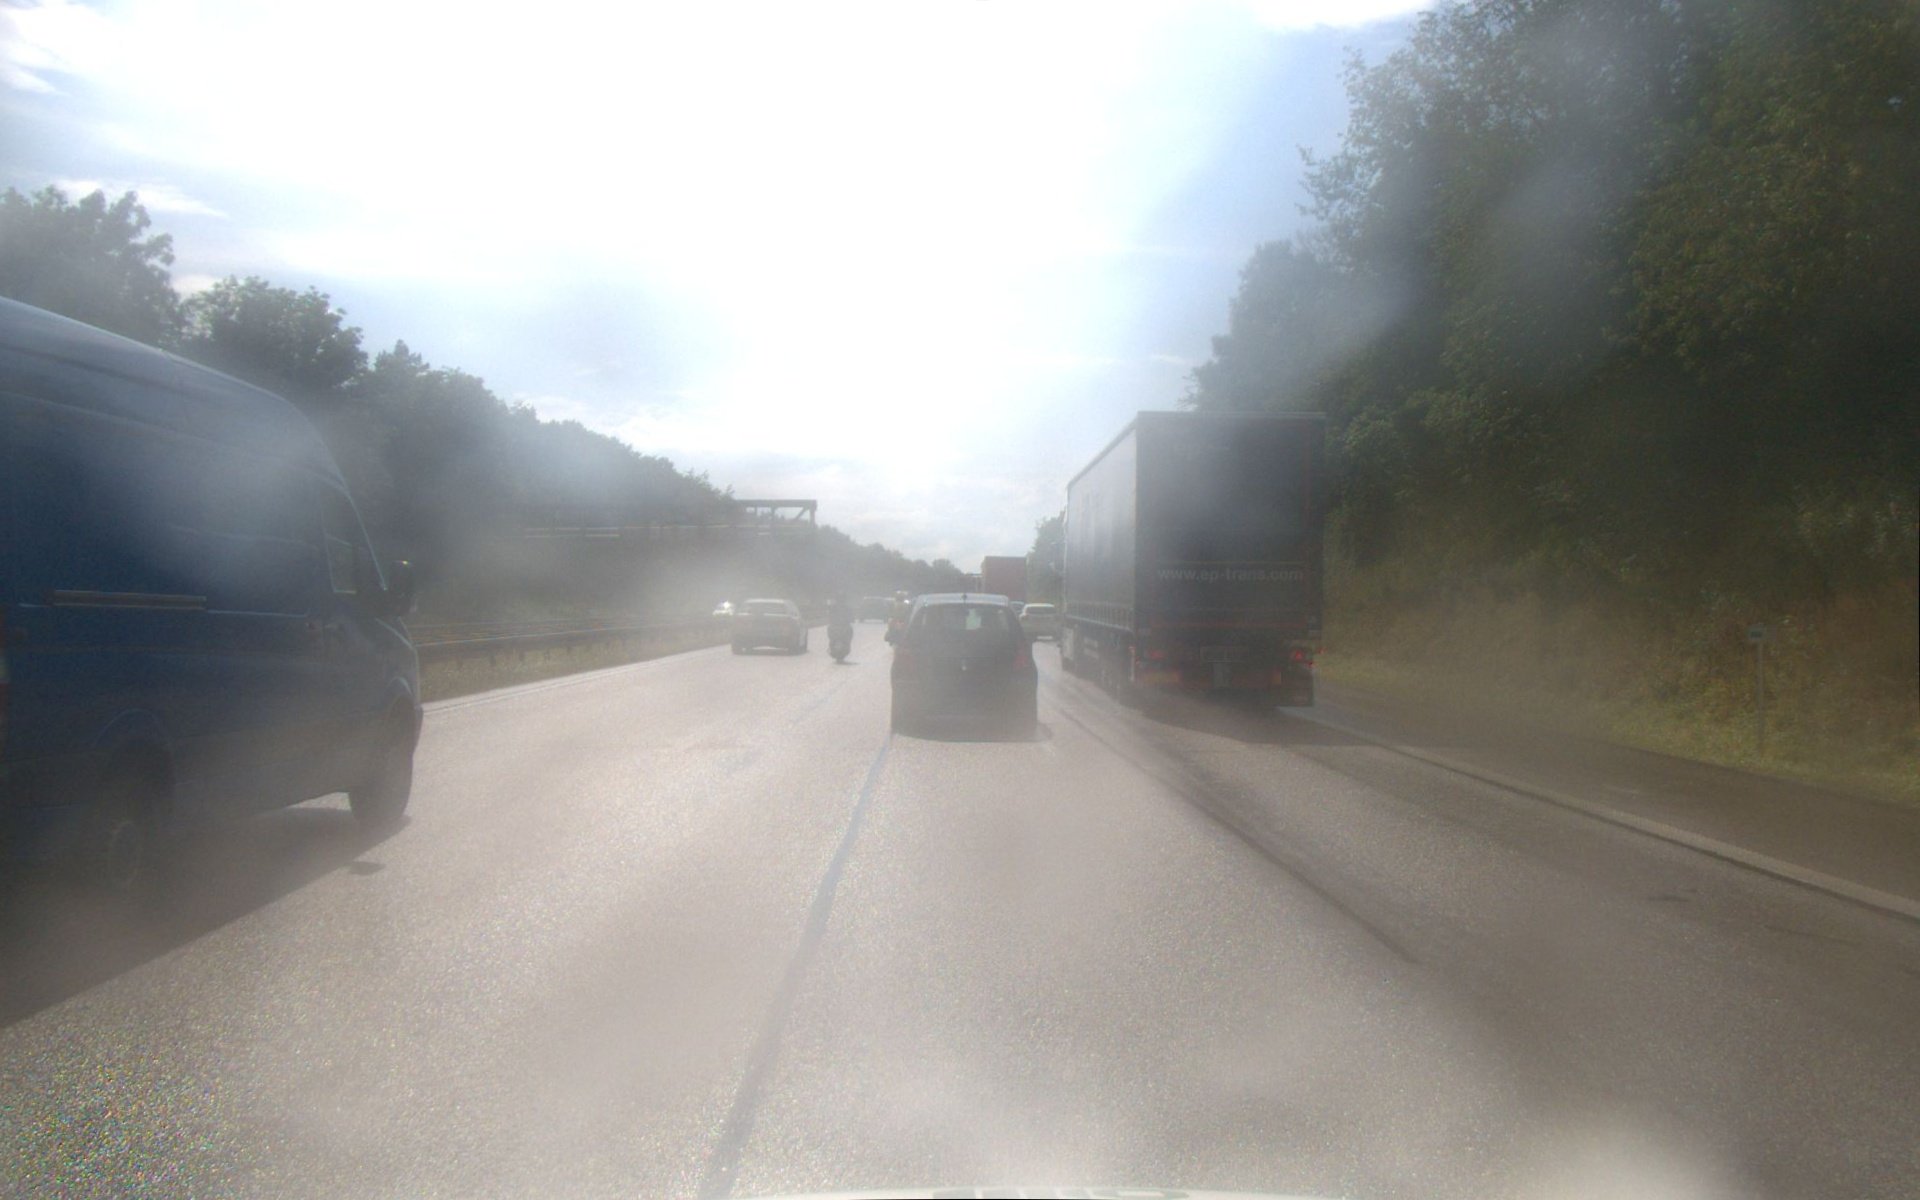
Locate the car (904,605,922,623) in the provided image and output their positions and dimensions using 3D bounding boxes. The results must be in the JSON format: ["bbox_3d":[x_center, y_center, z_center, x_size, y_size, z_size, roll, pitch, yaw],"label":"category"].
[{"bbox_3d":[-5.381,1.646,189.925,1.953,2.049,3.999,1,-1,-1],"label":"car"}]

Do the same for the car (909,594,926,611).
[{"bbox_3d":[-5.282,0.306,205.933,1.953,2.049,3.999,1,-1,-1],"label":"car"}]

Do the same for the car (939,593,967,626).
[{"bbox_3d":[-0.430,0.579,100.308,1.641,1.970,3.772,1,0,-1],"label":"car"}]

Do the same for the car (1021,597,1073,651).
[{"bbox_3d":[3.470,0.945,66.388,1.811,2.049,4.086,1,-1,0],"label":"car"}]

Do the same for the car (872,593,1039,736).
[{"bbox_3d":[-0.087,0.734,20.812,1.876,1.592,4.313,1,0,-1],"label":"car"}]

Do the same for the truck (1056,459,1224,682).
[{"bbox_3d":[3.765,-0.581,35.924,2.989,4.401,5.886,1,0,0],"label":"truck"}]

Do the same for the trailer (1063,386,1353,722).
[{"bbox_3d":[3.701,-0.585,28.770,3.025,4.388,14.105,1,0,1],"label":"trailer"}]

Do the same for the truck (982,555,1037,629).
[{"bbox_3d":[3.070,-0.464,105.208,3.137,4.481,9.431,1,0,0],"label":"truck"}]

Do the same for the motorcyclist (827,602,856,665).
[{"bbox_3d":[-2.831,0.798,39.513,0.657,1.467,1.019,1,-1,-4],"label":"motorcyclist"}]

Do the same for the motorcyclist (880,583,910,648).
[{"bbox_3d":[-1.841,0.434,46.965,0.805,1.791,1.390,1,-1,-2],"label":"motorcyclist"}]

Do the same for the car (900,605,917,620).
[{"bbox_3d":[-5.110,1.231,164.315,1.641,1.516,3.436,1,0,-1],"label":"car"}]

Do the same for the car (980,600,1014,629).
[{"bbox_3d":[1.949,0.755,87.177,1.641,1.516,3.436,1,0,-1],"label":"car"}]

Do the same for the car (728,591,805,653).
[{"bbox_3d":[-5.375,0.594,46.350,1.723,1.622,4.329,1,0,-1],"label":"car"}]

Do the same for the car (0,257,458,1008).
[{"bbox_3d":[-4.482,0.118,8.727,1.975,2.695,5.775,1,0,-1],"label":"car"}]

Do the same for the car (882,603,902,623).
[{"bbox_3d":[-5.656,1.045,137.899,1.641,1.625,3.436,1,0,-1],"label":"car"}]

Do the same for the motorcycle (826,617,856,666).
[{"bbox_3d":[-2.836,0.983,39.489,0.662,1.106,1.980,1,0,-4],"label":"motorcycle"}]

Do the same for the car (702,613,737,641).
[{"bbox_3d":[-18.357,2.055,126.493,1.953,2.049,4.805,1,-1,-1],"label":"car"}]

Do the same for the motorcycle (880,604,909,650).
[{"bbox_3d":[-1.846,0.751,46.990,0.803,1.285,2.117,1,0,-2],"label":"motorcycle"}]

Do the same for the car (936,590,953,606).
[{"bbox_3d":[-1.458,-0.190,156.134,1.598,1.516,3.436,1,0,-1],"label":"car"}]

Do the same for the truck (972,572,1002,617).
[{"bbox_3d":[2.938,-0.501,183.065,2.823,4.770,12.655,1,0,-1],"label":"truck"}]

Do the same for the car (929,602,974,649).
[{"bbox_3d":[-0.403,1.133,75.102,1.953,2.049,3.999,1,-1,-1],"label":"car"}]

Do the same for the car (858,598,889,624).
[{"bbox_3d":[-5.633,0.704,107.924,1.854,1.656,4.194,1,0,-1],"label":"car"}]
